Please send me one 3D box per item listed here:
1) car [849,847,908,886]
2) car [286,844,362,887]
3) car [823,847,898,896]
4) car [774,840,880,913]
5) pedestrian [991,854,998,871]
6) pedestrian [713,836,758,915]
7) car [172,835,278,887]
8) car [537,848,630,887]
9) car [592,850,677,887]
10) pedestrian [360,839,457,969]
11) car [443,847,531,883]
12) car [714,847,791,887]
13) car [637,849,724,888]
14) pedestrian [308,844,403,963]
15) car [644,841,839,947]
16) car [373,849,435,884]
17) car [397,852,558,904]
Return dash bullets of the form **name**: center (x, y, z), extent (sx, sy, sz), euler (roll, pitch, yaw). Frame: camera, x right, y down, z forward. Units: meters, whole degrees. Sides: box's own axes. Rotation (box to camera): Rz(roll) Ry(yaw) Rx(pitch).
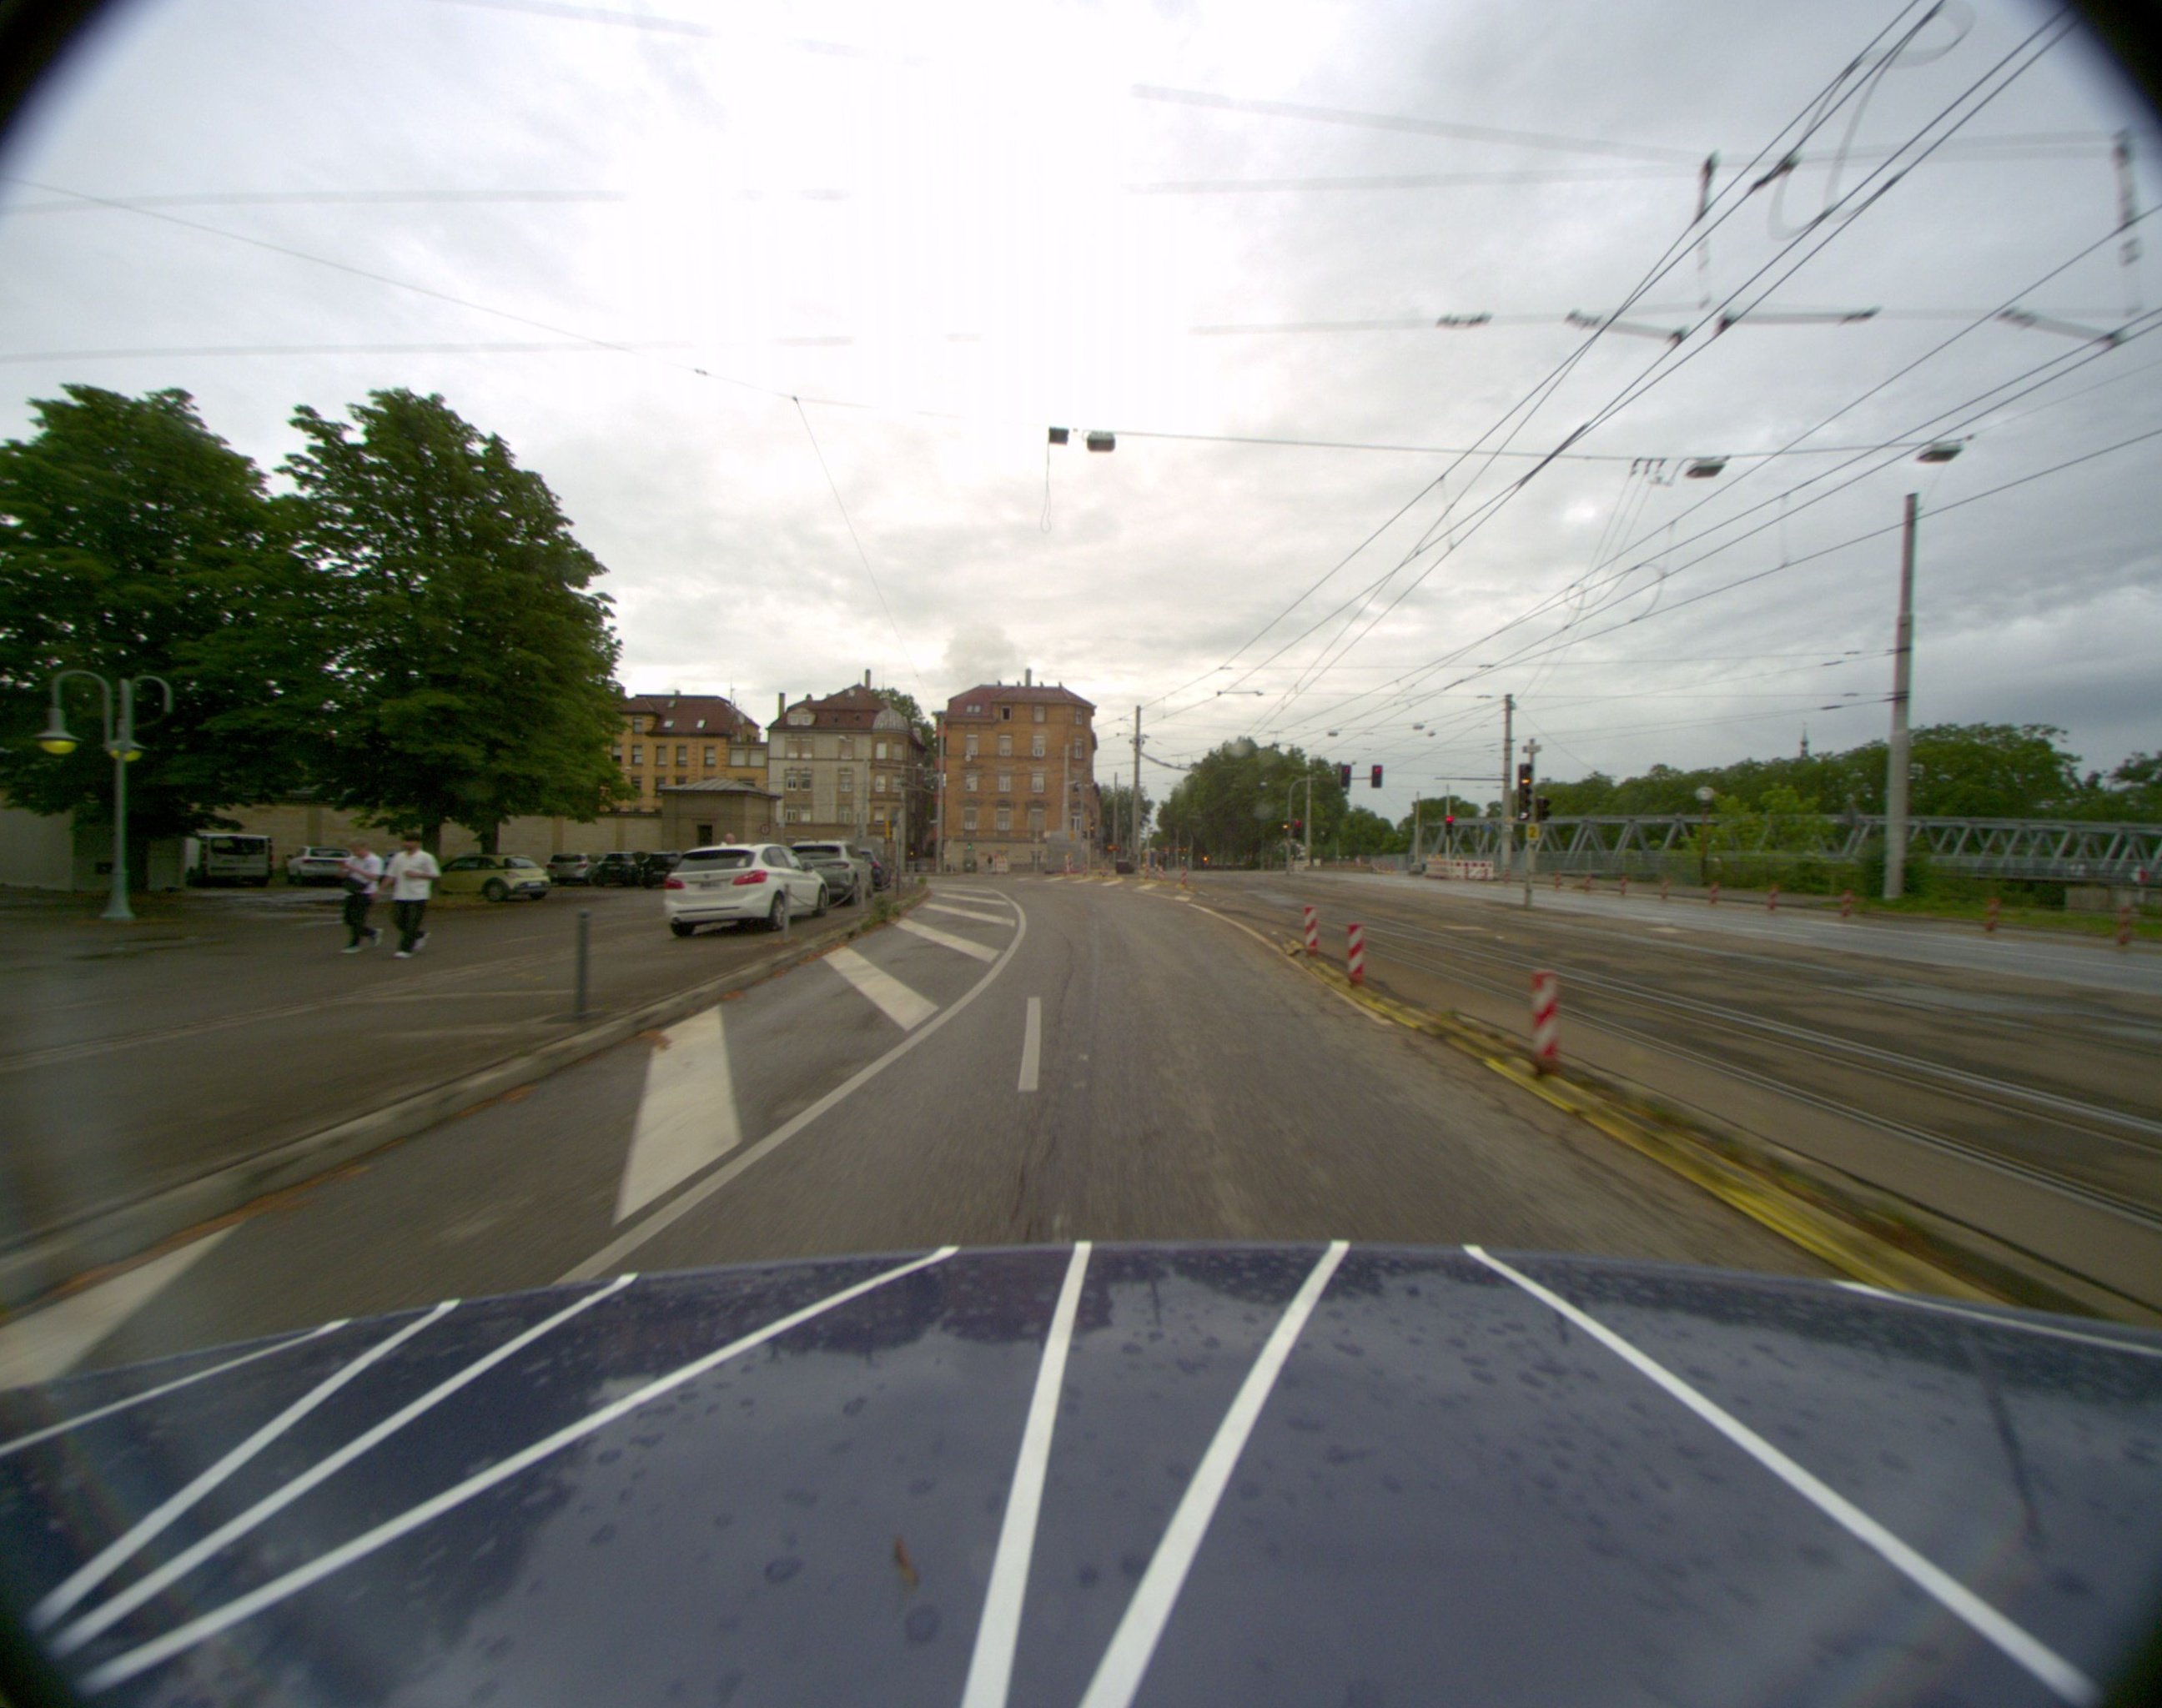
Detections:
- **car**: center (-8.504, 0.497, 32.256), extent (1.844, 1.455, 4.140), euler (-3, 0, -8)
- **car**: center (-30.781, 0.427, 30.868), extent (3.988, 1.573, 1.686), euler (2, 2, 38)
- **car**: center (-7.475, 0.516, 26.123), extent (1.844, 1.455, 4.139), euler (-3, 1, -8)
- **car**: center (-6.535, 0.486, 19.991), extent (1.721, 1.630, 4.139), euler (-3, 2, -6)
- **pedestrian**: center (-8.364, 0.839, 73.477), extent (0.511, 1.645, 0.534), euler (1, 2, 0)
- **pedestrian**: center (-8.033, 0.488, 17.702), extent (0.698, 1.797, 0.781), euler (-1, 2, -7)
- **car**: center (-32.387, 0.215, 28.739), extent (3.988, 1.826, 1.835), euler (2, 1, 29)
- **car**: center (-22.313, 0.557, 34.277), extent (1.831, 1.573, 3.997), euler (1, 1, -5)
- **car**: center (-19.943, 0.617, 34.148), extent (1.682, 1.489, 3.998), euler (1, 1, -4)
- **pedestrian**: center (-9.298, 0.660, 10.539), extent (0.595, 1.726, 0.839), euler (1, 1, 0)
- **car**: center (-26.330, 0.465, 33.823), extent (1.724, 1.434, 3.993), euler (1, 1, -16)
- **car**: center (-14.251, 0.538, 33.185), extent (1.831, 1.573, 3.998), euler (1, 1, -3)
- **car**: center (-17.460, 0.571, 33.341), extent (1.864, 1.539, 4.063), euler (0, 1, -4)
- **pedestrian**: center (-10.355, 0.683, 10.873), extent (0.629, 1.635, 0.780), euler (1, 1, -4)
- **car**: center (-6.121, 0.613, 14.297), extent (1.843, 1.630, 4.141), euler (-2, 1, -2)
- **car**: center (-29.465, 0.499, 33.162), extent (1.707, 1.387, 3.988), euler (0, 1, -38)
- **car**: center (-18.772, 0.708, 23.724), extent (3.741, 1.461, 1.729), euler (1, 1, 4)
